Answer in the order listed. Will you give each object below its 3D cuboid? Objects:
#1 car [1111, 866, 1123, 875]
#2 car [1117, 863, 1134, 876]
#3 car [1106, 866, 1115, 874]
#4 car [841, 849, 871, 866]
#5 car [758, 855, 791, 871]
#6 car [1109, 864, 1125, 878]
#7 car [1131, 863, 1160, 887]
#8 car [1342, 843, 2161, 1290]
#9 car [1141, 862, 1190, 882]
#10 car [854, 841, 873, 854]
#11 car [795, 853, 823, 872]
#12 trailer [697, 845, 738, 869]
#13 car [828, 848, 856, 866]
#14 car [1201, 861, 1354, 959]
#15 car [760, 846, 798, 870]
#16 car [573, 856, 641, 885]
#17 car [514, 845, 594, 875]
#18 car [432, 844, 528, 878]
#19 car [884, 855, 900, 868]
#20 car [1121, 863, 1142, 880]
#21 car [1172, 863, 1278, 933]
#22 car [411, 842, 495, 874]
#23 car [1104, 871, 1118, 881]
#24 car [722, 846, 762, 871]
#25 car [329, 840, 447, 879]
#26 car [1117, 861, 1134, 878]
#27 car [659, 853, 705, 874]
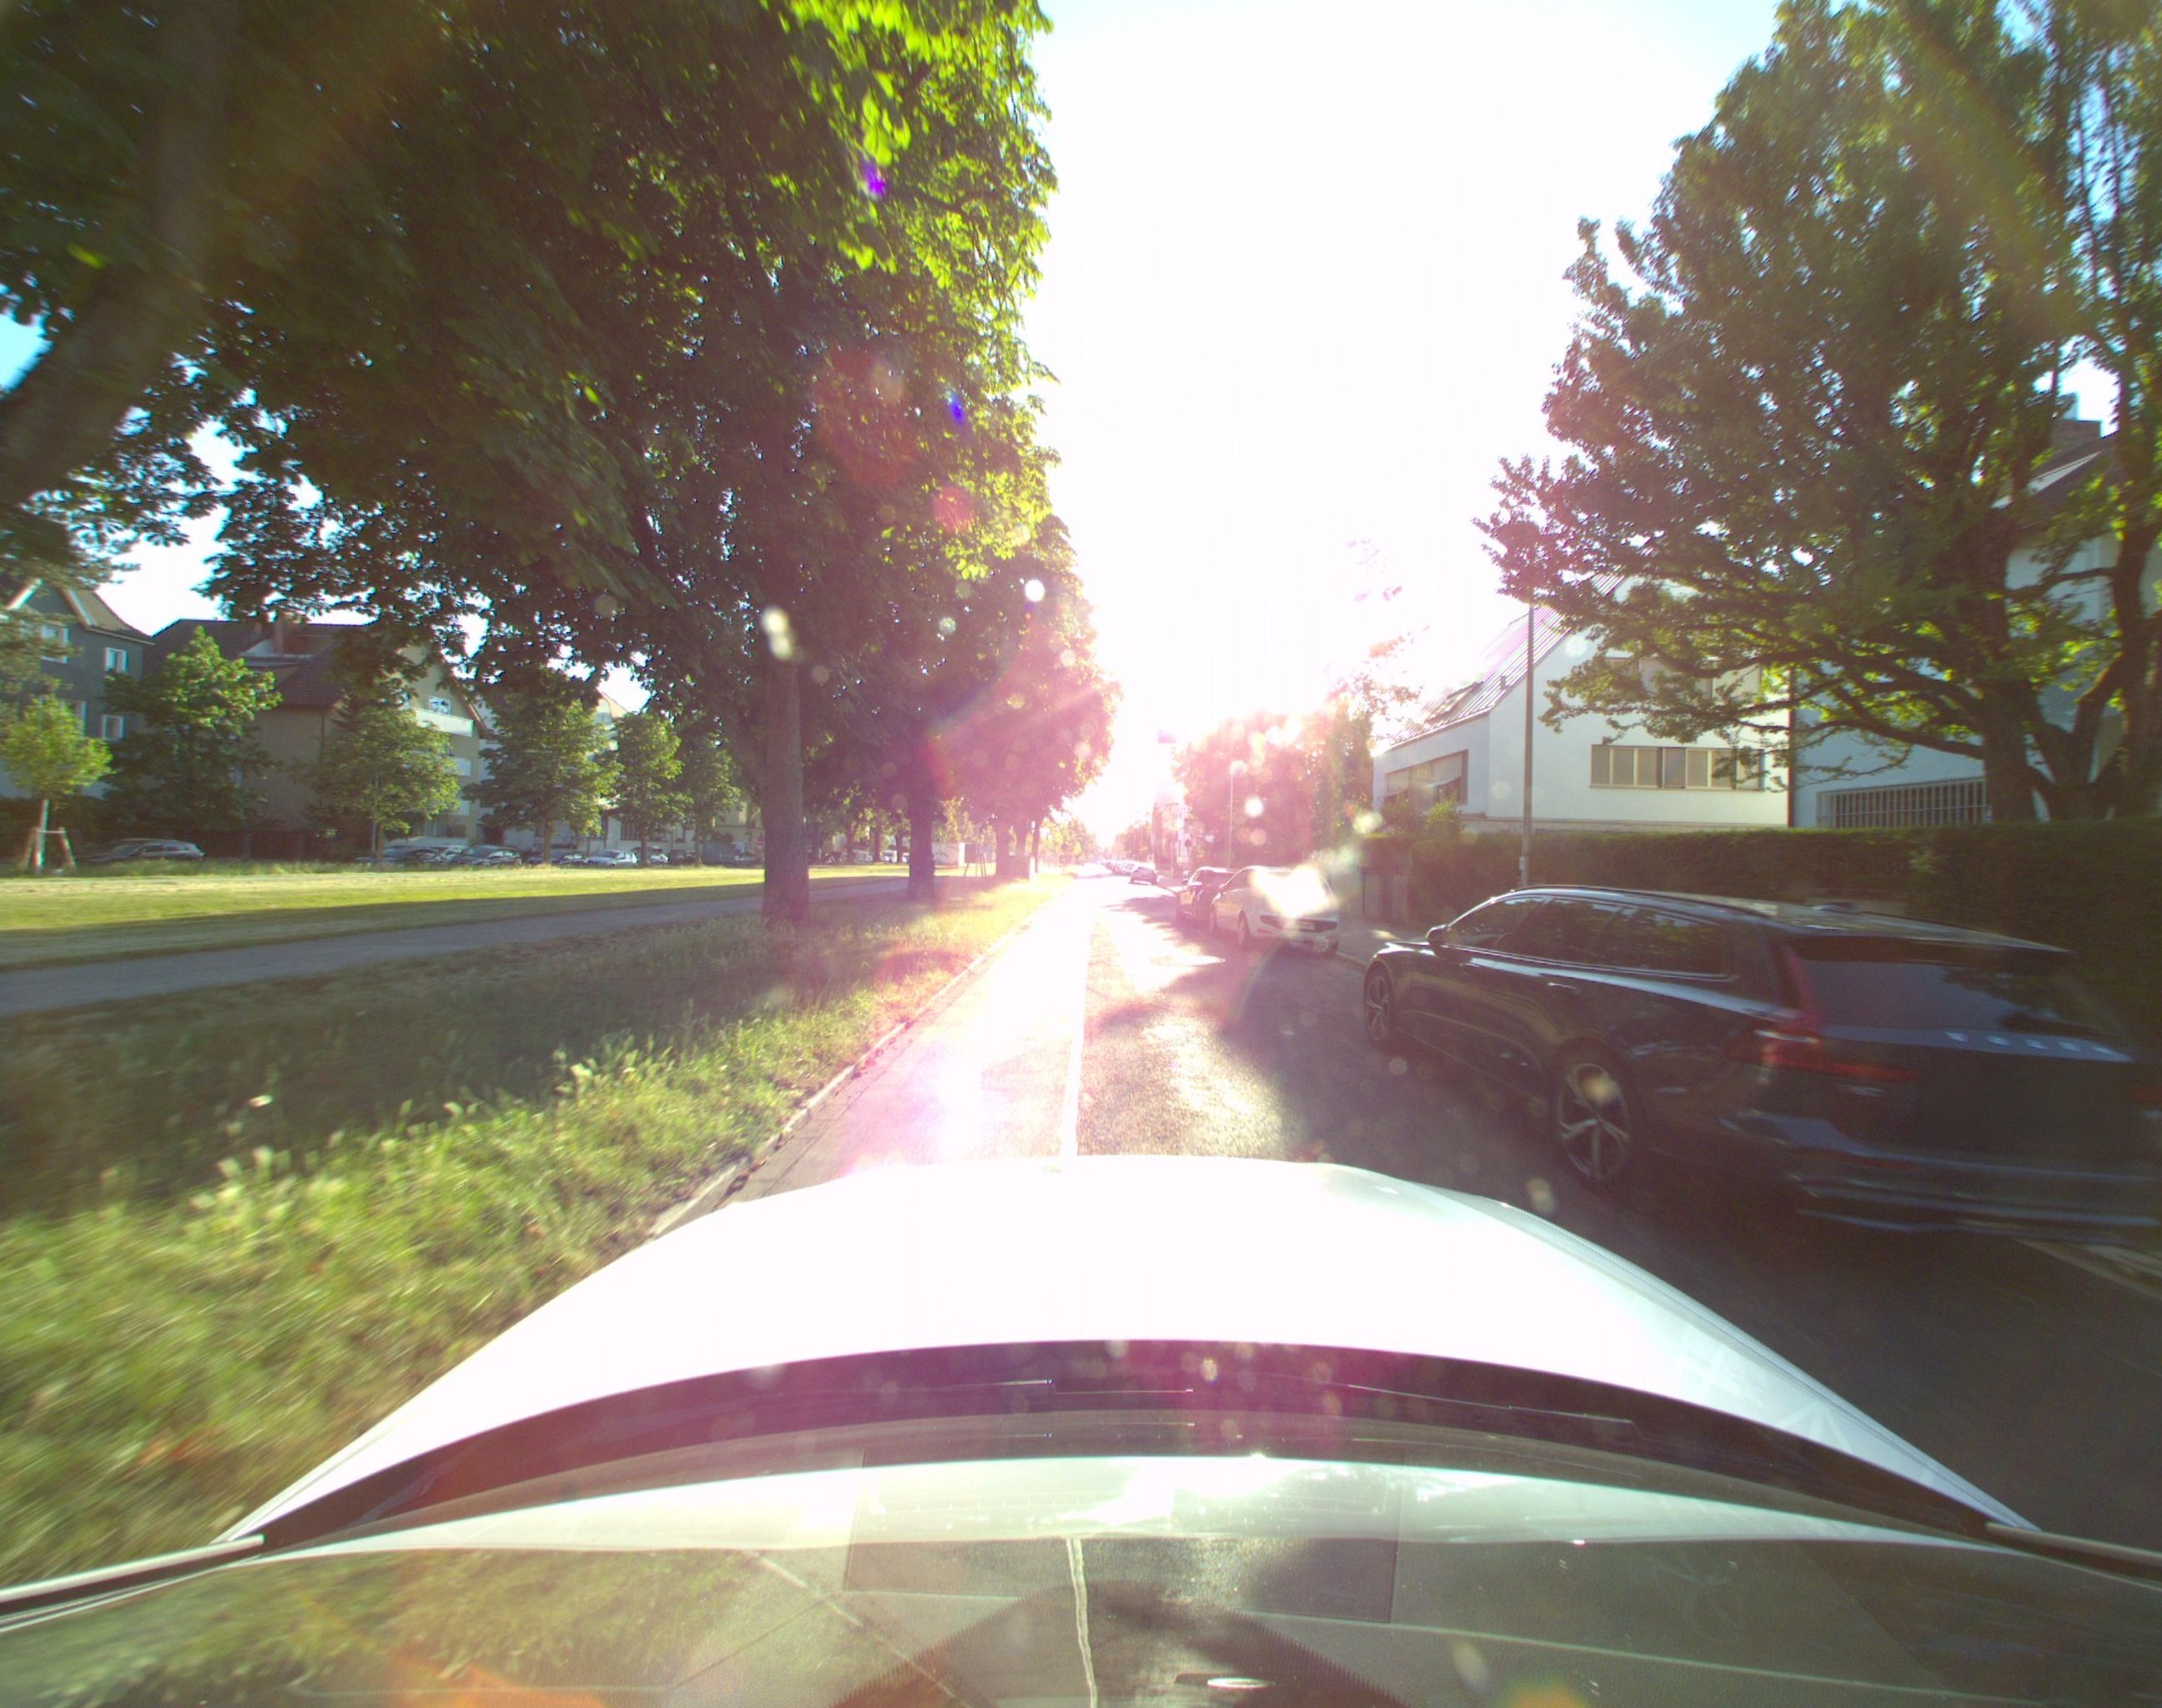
[{"bbox_3d":[6.568,2.992,148.333,1.986,1.629,4.002,1,-1,2],"label":"car"},{"bbox_3d":[5.299,1.809,96.463,1.755,1.420,3.999,1,-1,0],"label":"car"},{"bbox_3d":[6.538,3.524,182.845,1.973,1.683,4.002,1,-1,2],"label":"car"},{"bbox_3d":[-31.248,0.489,113.270,2.525,2.236,5.460,1,0,1],"label":"car"},{"bbox_3d":[-31.801,0.913,84.654,1.678,1.560,4.316,1,-1,2],"label":"car"},{"bbox_3d":[4.455,2.069,101.230,1.753,1.605,4.358,1,-1,0],"label":"car"},{"bbox_3d":[4.529,1.490,57.737,1.750,1.420,4.073,7,-1,2],"label":"car"},{"bbox_3d":[3.283,0.788,5.154,1.787,1.492,4.674,2,-1,1],"label":"car"},{"bbox_3d":[7.357,1.571,71.077,3.982,1.420,1.763,3,1,-7],"label":"car"},{"bbox_3d":[-36.896,-1.022,138.398,1.986,2.014,4.485,-1,-1,1],"label":"car"},{"bbox_3d":[-31.679,0.985,94.986,1.678,2.176,4.316,1,-1,2],"label":"car"},{"bbox_3d":[-37.695,0.329,84.519,1.986,2.428,4.725,1,-1,2],"label":"trailer"},{"bbox_3d":[-31.091,0.384,105.946,1.986,2.250,5.187,1,-1,1],"label":"car"},{"bbox_3d":[3.556,0.947,15.453,1.687,1.483,3.925,5,-1,-3],"label":"car"},{"bbox_3d":[-37.543,0.557,101.291,2.429,2.922,5.818,-1,-1,1],"label":"car"},{"bbox_3d":[-32.466,1.142,55.954,1.986,1.860,4.257,2,-1,2],"label":"car"},{"bbox_3d":[-32.480,0.395,50.347,1.986,1.721,4.257,2,-1,2],"label":"car"},{"bbox_3d":[-32.553,0.408,44.274,1.985,1.684,4.003,2,-1,3],"label":"car"},{"bbox_3d":[-36.453,1.524,157.293,1.986,2.410,4.364,-1,-1,1],"label":"car"},{"bbox_3d":[4.979,1.683,80.968,1.753,1.605,4.358,1,-1,0],"label":"car"},{"bbox_3d":[3.484,1.018,20.465,1.744,1.477,4.285,3,-1,-2],"label":"car"},{"bbox_3d":[-38.390,0.289,49.895,1.988,1.783,3.998,2,-1,-1],"label":"car"},{"bbox_3d":[4.499,3.265,122.210,1.986,1.464,4.002,1,-1,2],"label":"car"},{"bbox_3d":[-37.584,0.527,90.436,1.986,2.673,5.188,1,-1,2],"label":"car"},{"bbox_3d":[-32.932,0.284,38.874,1.985,1.684,4.003,2,-1,3],"label":"car"},{"bbox_3d":[4.741,1.626,86.940,1.679,1.651,4.100,2,-1,1],"label":"car"},{"bbox_3d":[-37.953,0.904,77.600,1.987,1.953,4.749,1,-1,0],"label":"car"}]
